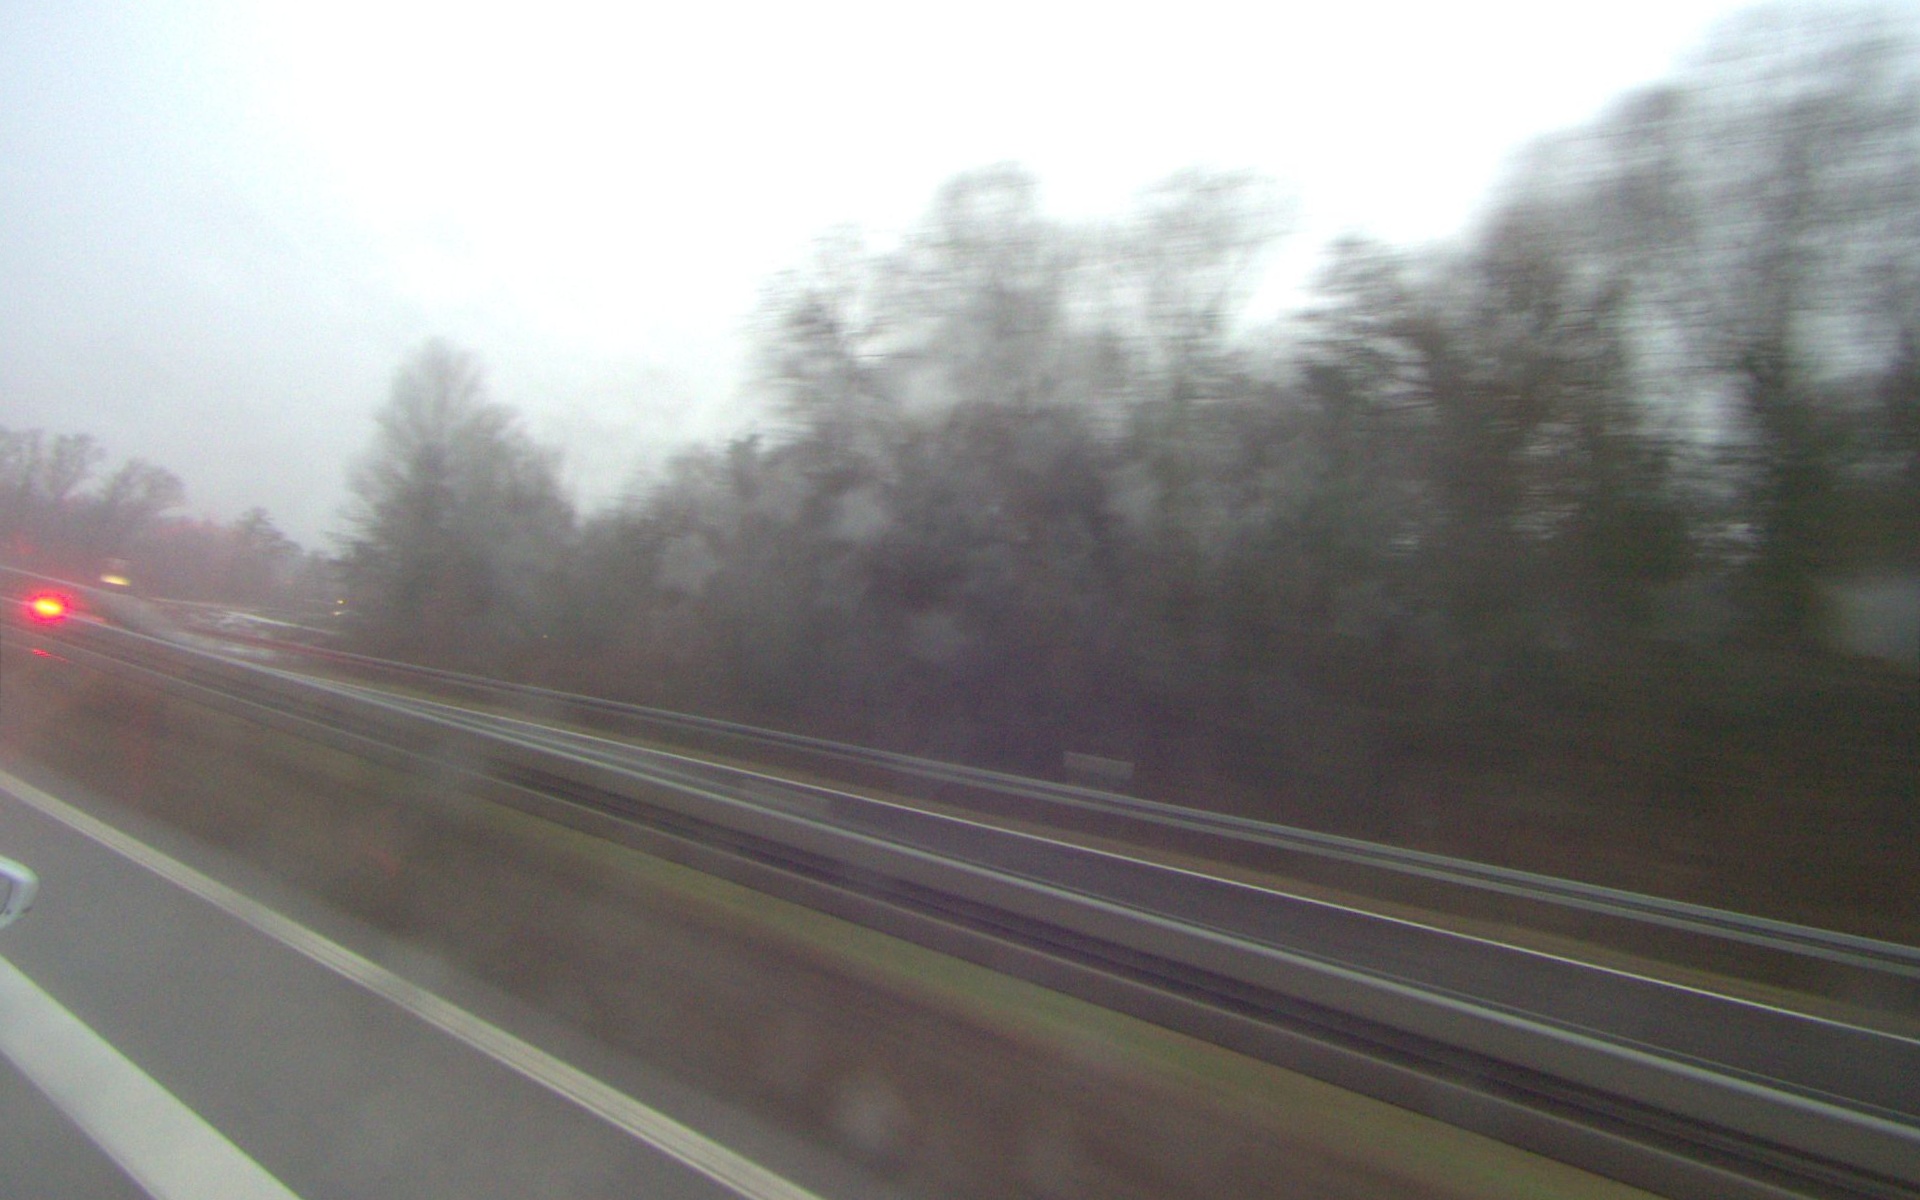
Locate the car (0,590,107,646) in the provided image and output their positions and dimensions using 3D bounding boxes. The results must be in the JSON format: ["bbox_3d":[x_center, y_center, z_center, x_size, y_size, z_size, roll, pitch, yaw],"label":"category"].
[{"bbox_3d":[-31.250,0.599,34.372,3.931,1.292,1.686,5,-9,28],"label":"car"}]
